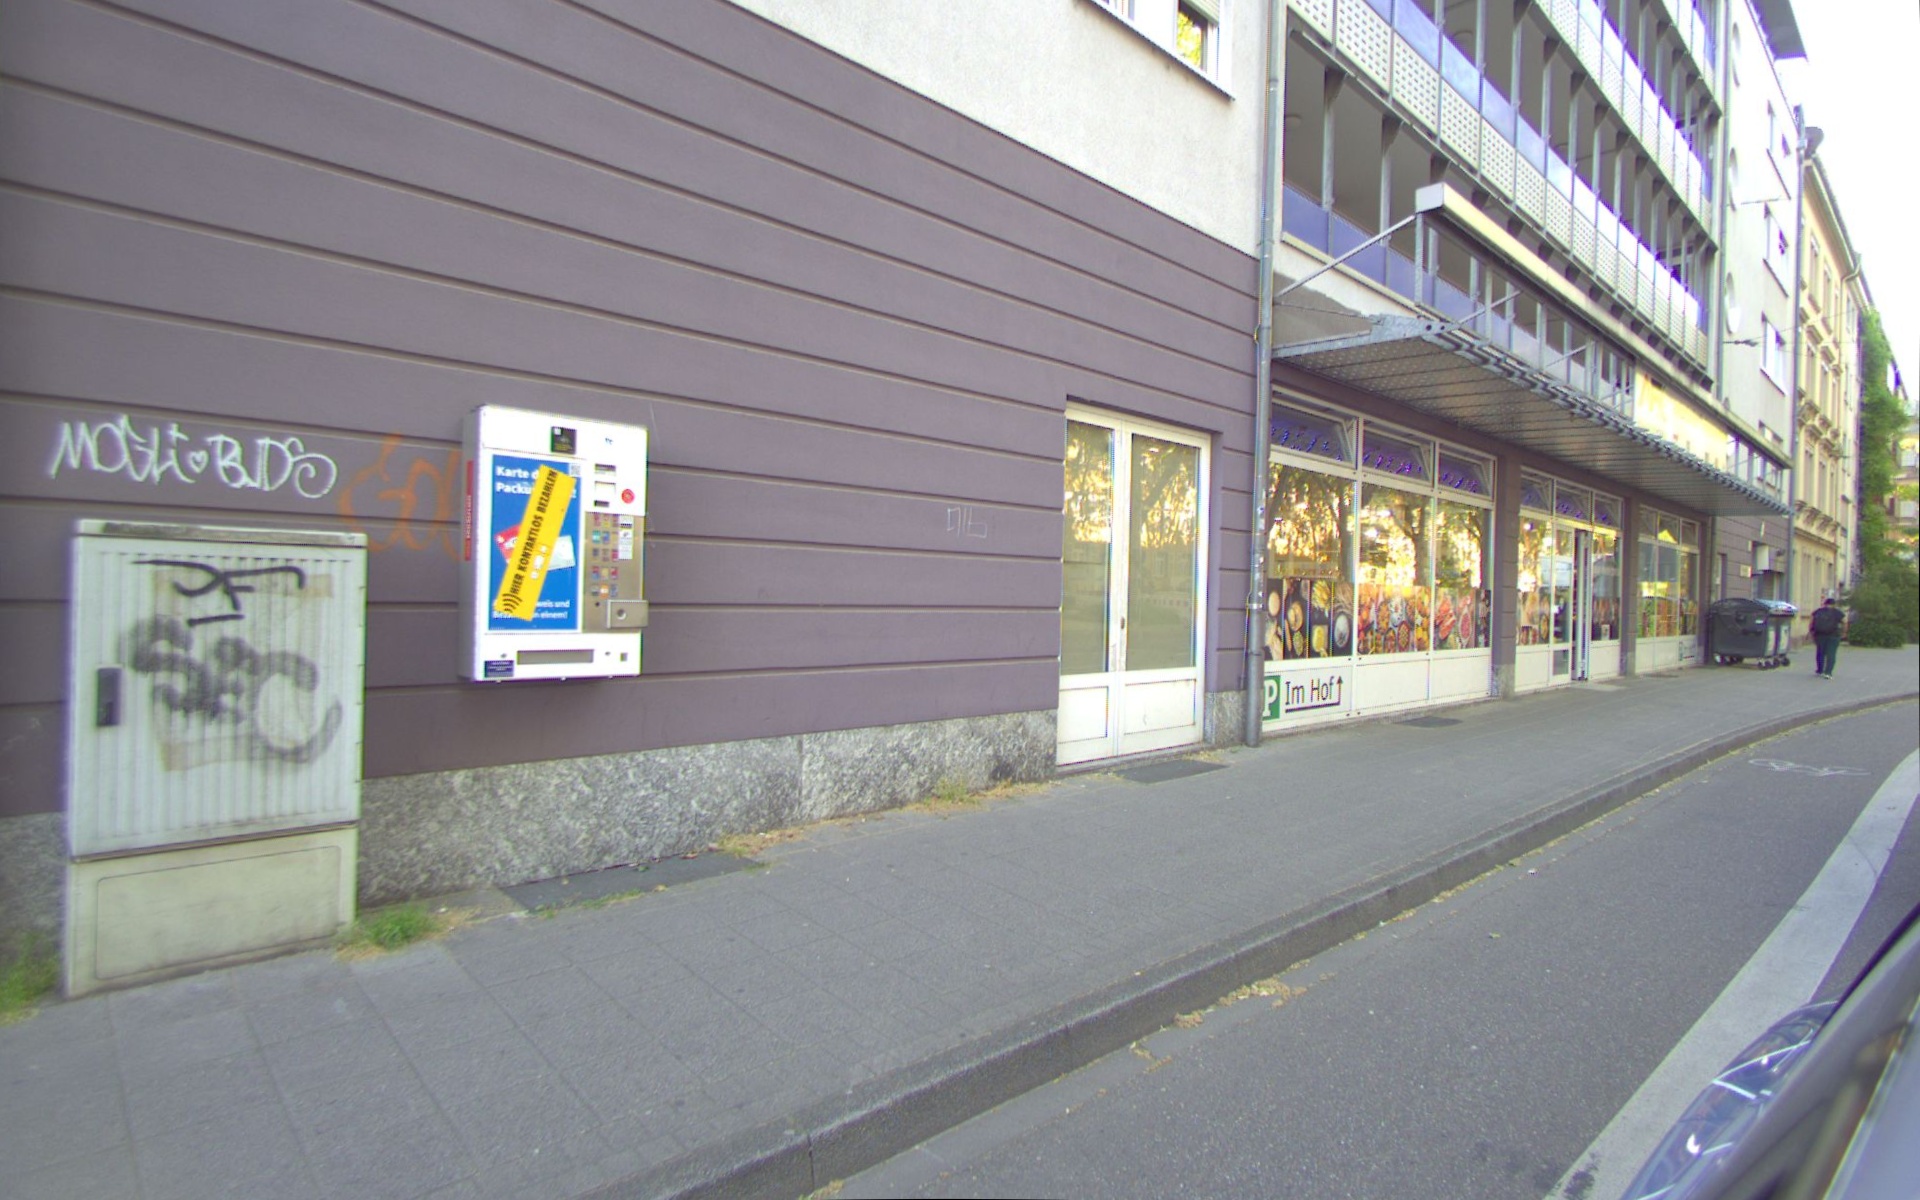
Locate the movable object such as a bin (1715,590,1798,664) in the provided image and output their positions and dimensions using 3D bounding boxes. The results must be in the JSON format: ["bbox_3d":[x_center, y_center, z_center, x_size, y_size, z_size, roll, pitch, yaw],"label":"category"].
[{"bbox_3d":[16.326,0.530,20.747,0.923,1.444,1.158,1,1,-40],"label":"movable object such as a bin"}]

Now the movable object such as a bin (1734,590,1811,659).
[{"bbox_3d":[17.770,0.516,22.140,0.923,1.444,1.158,1,1,-40],"label":"movable object such as a bin"}]

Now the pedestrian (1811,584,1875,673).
[{"bbox_3d":[16.649,0.516,19.087,0.862,1.612,0.613,2,1,44],"label":"pedestrian"}]
